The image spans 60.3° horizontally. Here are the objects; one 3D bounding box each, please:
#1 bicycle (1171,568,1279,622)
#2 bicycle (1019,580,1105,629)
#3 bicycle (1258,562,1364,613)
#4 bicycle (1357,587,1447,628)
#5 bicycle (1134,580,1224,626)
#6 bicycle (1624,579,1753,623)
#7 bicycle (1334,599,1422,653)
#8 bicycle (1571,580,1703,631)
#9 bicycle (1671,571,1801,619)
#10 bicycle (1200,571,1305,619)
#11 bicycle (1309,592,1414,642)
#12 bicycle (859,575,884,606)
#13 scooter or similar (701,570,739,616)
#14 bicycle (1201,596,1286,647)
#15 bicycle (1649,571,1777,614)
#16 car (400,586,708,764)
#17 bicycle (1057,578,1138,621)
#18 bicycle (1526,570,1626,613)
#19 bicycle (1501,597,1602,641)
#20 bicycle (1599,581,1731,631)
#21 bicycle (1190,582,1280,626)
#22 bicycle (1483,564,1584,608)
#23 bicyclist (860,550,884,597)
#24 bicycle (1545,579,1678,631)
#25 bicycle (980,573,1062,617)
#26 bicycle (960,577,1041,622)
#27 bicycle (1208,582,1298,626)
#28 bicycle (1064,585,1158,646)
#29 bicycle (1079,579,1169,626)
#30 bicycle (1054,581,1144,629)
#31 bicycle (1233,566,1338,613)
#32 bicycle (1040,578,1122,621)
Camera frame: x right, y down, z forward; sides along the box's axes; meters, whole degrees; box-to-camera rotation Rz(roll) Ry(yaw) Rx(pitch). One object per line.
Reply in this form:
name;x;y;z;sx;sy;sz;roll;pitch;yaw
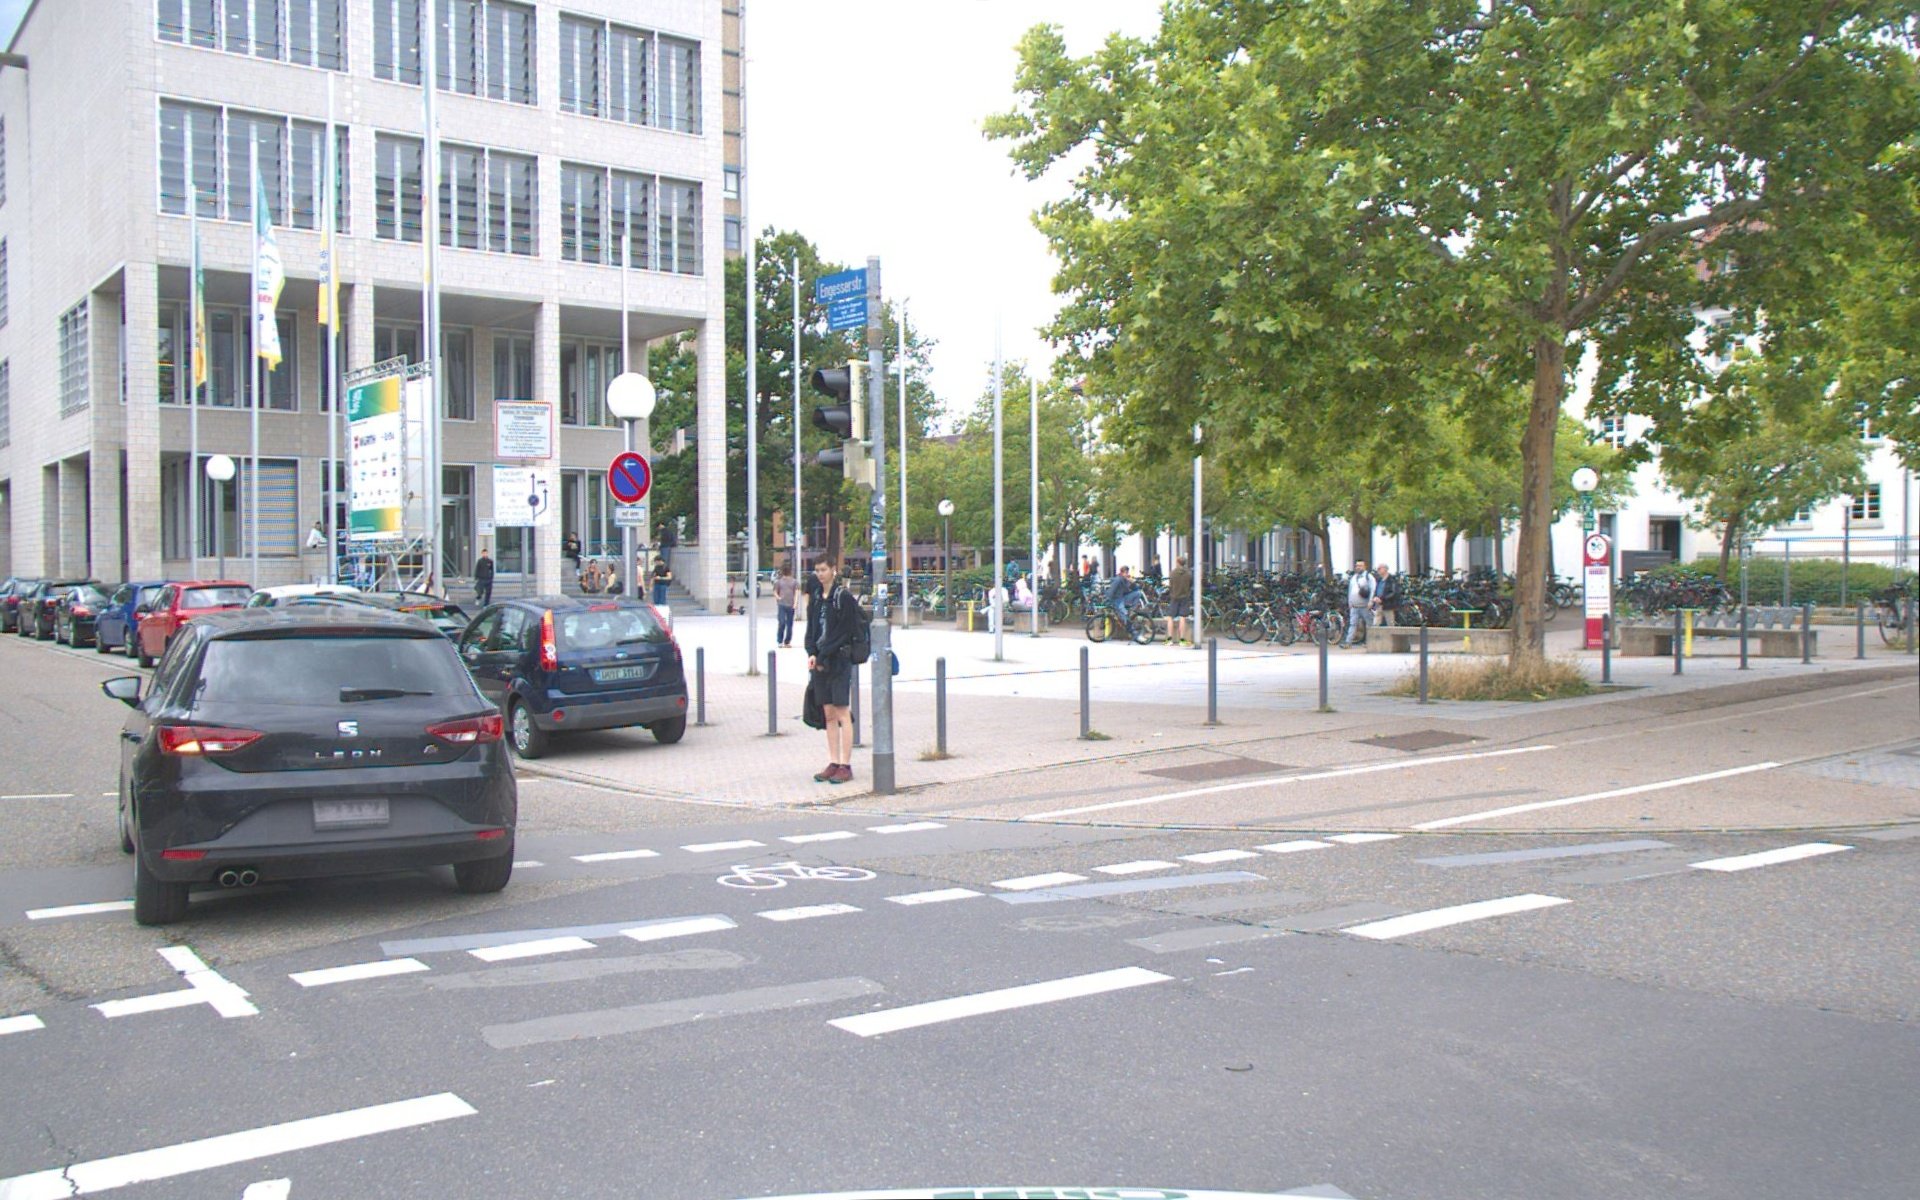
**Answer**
bicycle;6.704;-0.141;42.033;0.739;1.190;3.070;1;2;-35
bicycle;2.830;0.120;46.457;0.615;1.190;3.070;1;2;-35
bicycle;9.323;-0.344;44.128;0.739;1.190;3.070;1;2;-35
bicycle;14.678;0.227;55.002;0.739;1.190;3.069;1;2;-36
bicycle;6.509;0.076;49.334;0.739;1.190;3.070;1;2;-35
bicycle;20.468;0.024;46.561;1.041;1.190;3.358;0;0;-31
bicycle;8.858;0.543;35.094;0.453;1.067;1.906;-1;2;-41
bicycle;18.484;0.134;45.285;1.041;1.190;3.359;1;2;-31
bicycle;22.359;-0.166;47.753;1.041;1.190;3.360;1;2;-31
bicycle;7.550;-0.144;42.828;0.739;1.190;3.070;0;1;-35
bicycle;11.049;0.462;45.621;0.739;1.190;3.070;1;2;-35
bicycle;-3.214;-0.361;60.334;0.856;1.112;1.800;1;1;-2
scooter or similar;-7.470;-0.239;51.545;0.396;1.393;1.491;3;2;25
bicycle;6.323;0.476;36.945;1.899;1.067;0.455;1;2;40
bicycle;21.417;-0.233;47.151;1.041;1.190;3.358;0;1;-31
car;-4.238;0.654;16.844;1.610;1.528;4.053;-3;2;-36
bicycle;4.336;-0.026;52.401;0.739;1.190;3.070;1;2;-35
bicycle;19.397;-0.275;52.170;0.739;1.190;3.070;1;2;-35
bicycle;18.338;0.573;51.356;0.739;1.190;3.070;1;2;-35
bicycle;19.549;0.155;45.965;1.041;1.190;3.359;1;2;-31
bicycle;8.429;0.104;50.854;0.739;1.190;3.069;1;2;-36
bicycle;17.549;-0.451;50.711;0.739;1.190;3.070;1;2;-35
bicyclist;-3.212;-0.966;60.319;0.856;1.669;0.868;1;1;-2
bicycle;17.450;0.119;44.441;1.041;1.190;3.359;1;2;-31
bicycle;1.820;-0.165;50.042;0.739;1.190;3.070;1;2;-35
bicycle;1.185;-0.029;49.584;0.739;1.190;3.070;1;2;-35
bicycle;9.055;0.115;51.305;0.739;1.190;3.069;1;2;-36
bicycle;3.294;0.319;36.346;0.453;1.190;2.378;1;3;-41
bicycle;4.718;0.050;47.869;0.739;1.190;3.070;1;2;-35
bicycle;3.951;0.136;47.374;0.739;1.190;3.070;1;2;-35
bicycle;8.525;-0.292;43.490;0.739;1.190;3.070;0;1;-35
bicycle;3.763;-0.031;51.822;0.739;1.190;3.070;1;2;-35
